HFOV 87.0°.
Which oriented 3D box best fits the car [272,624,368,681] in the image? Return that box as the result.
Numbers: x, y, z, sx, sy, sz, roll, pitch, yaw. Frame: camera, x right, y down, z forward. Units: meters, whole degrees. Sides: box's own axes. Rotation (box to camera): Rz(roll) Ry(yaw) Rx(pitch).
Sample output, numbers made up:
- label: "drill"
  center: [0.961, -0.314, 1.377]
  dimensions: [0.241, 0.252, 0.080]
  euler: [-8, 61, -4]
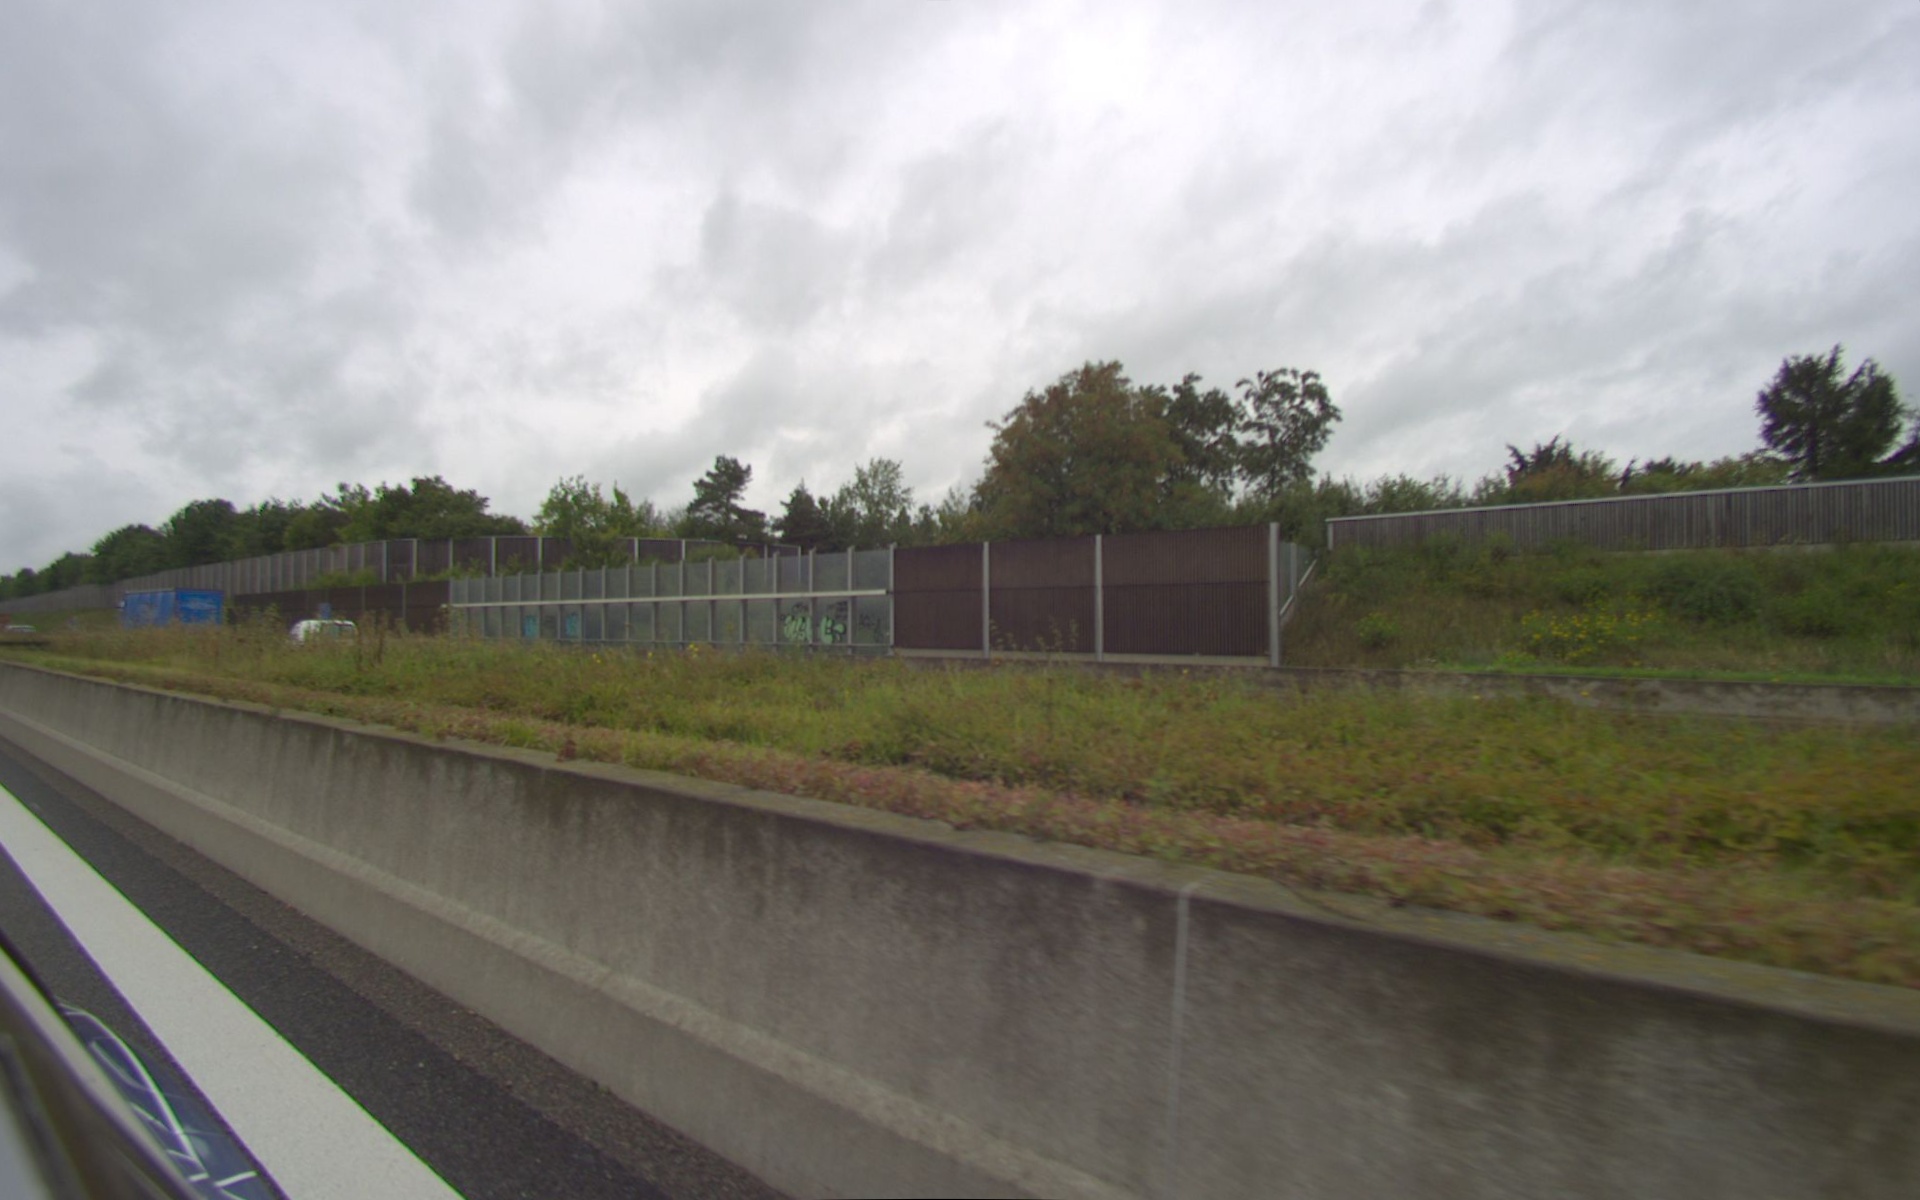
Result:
- label: "car"
  center: [-24.388, 1.943, 38.520]
  dimensions: [4.195, 2.029, 1.973]
  euler: [-2, -1, 41]

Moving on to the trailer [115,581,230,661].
- label: "trailer"
  center: [-52.941, 1.371, 67.810]
  dimensions: [13.514, 4.922, 3.185]
  euler: [-1, 0, 40]

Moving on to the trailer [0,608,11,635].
- label: "trailer"
  center: [-135.963, 3.061, 142.169]
  dimensions: [12.557, 3.712, 2.698]
  euler: [-2, -2, 41]

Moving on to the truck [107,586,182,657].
- label: "truck"
  center: [-58.186, 1.486, 72.203]
  dimensions: [5.414, 4.895, 3.156]
  euler: [-1, 0, 40]
